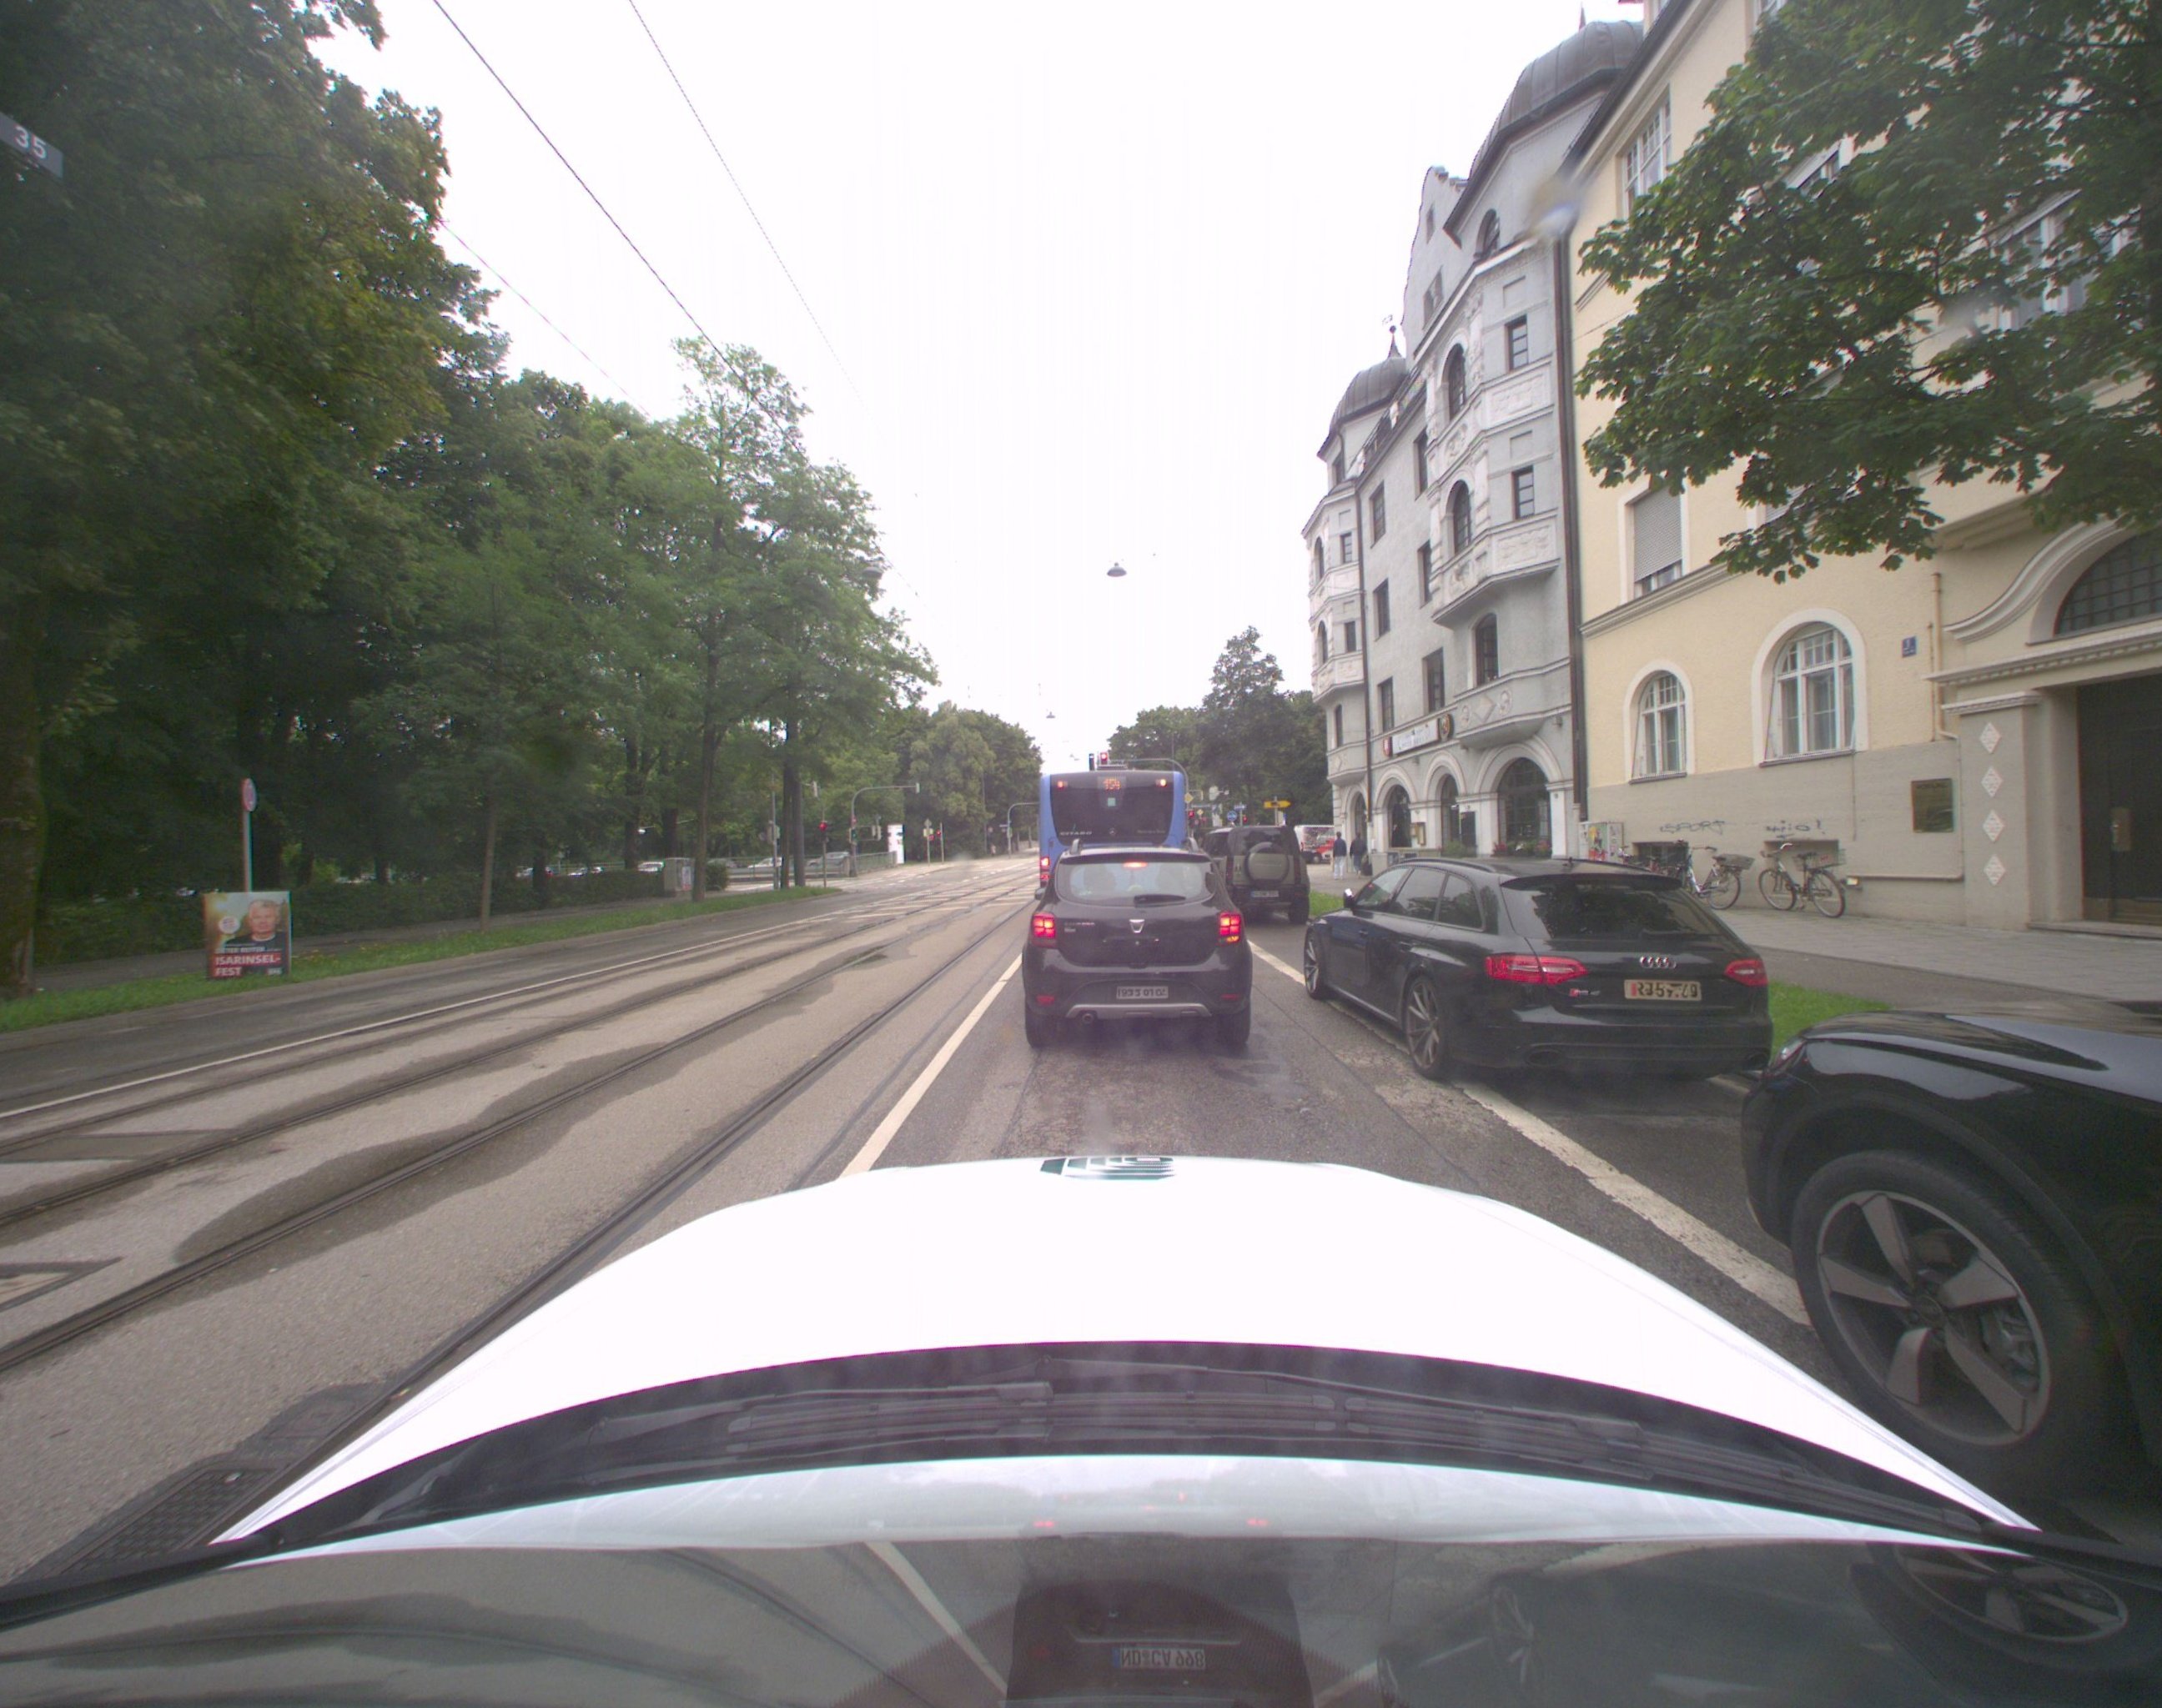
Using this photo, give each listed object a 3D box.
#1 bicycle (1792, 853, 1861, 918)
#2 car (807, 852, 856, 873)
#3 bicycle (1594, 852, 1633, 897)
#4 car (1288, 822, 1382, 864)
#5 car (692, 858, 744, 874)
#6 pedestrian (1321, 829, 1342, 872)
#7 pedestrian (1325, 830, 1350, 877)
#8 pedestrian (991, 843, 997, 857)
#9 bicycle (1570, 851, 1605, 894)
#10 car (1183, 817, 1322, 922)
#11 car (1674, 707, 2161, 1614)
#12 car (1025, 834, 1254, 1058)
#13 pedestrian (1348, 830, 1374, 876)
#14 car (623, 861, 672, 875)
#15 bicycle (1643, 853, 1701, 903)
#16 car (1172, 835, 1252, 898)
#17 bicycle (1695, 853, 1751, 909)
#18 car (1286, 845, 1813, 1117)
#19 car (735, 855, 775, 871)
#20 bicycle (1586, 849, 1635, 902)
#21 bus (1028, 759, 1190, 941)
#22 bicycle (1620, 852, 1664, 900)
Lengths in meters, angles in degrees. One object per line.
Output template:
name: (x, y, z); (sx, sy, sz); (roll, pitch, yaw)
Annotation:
bicycle: (11.003, 0.447, 12.041); (0.220, 0.930, 0.886); (0, 0, 1)
car: (-22.840, 0.733, 74.625); (4.016, 1.887, 1.488); (0, 0, -5)
bicycle: (11.267, 0.424, 17.250); (0.289, 0.930, 0.886); (0, 0, 3)
car: (16.092, -0.707, 51.836); (5.281, 2.612, 2.229); (0, 0, -2)
car: (-32.979, 1.109, 74.079); (3.915, 1.404, 1.719); (0, 0, -3)
pedestrian: (12.040, -0.174, 39.185); (0.712, 2.013, 0.674); (-2, 0, -1)
pedestrian: (9.919, -0.022, 31.466); (0.702, 1.816, 0.870); (0, 0, 2)
pedestrian: (-9.505, -0.437, 88.847); (0.529, 1.501, 0.589); (0, 0, 6)
bicycle: (11.295, 0.409, 18.187); (0.258, 0.930, 0.886); (0, 0, 3)
car: (3.429, 0.270, 17.254); (1.908, 1.905, 4.807); (0, 0, 0)
car: (2.811, 0.553, 0.497); (1.767, 1.658, 4.490); (-1, 0, 2)
car: (0.448, 0.639, 7.444); (1.595, 1.556, 3.526); (0, 0, 1)
pedestrian: (10.688, -0.051, 31.096); (0.702, 1.732, 0.843); (0, 0, 2)
car: (-39.245, 1.281, 73.828); (3.720, 1.185, 1.249); (0, 0, -4)
bicycle: (11.113, 0.445, 15.321); (0.879, 0.930, 0.273); (0, 0, 2)
car: (3.588, 0.315, 22.965); (1.708, 1.591, 4.329); (0, 0, 2)
bicycle: (11.012, 0.448, 13.986); (0.284, 0.930, 0.886); (0, 0, 3)
car: (3.051, 0.665, 6.596); (1.709, 1.426, 4.603); (0, 0, 1)
car: (-29.699, 0.825, 74.151); (3.103, 1.452, 1.249); (0, 0, -4)
bicycle: (10.825, 0.425, 16.670); (0.241, 1.039, 1.224); (0, 0, 2)
bus: (0.472, -0.072, 16.974); (2.670, 2.997, 6.960); (0, 0, 0)
bicycle: (11.204, 0.429, 16.290); (0.304, 0.930, 0.886); (0, 0, 3)
